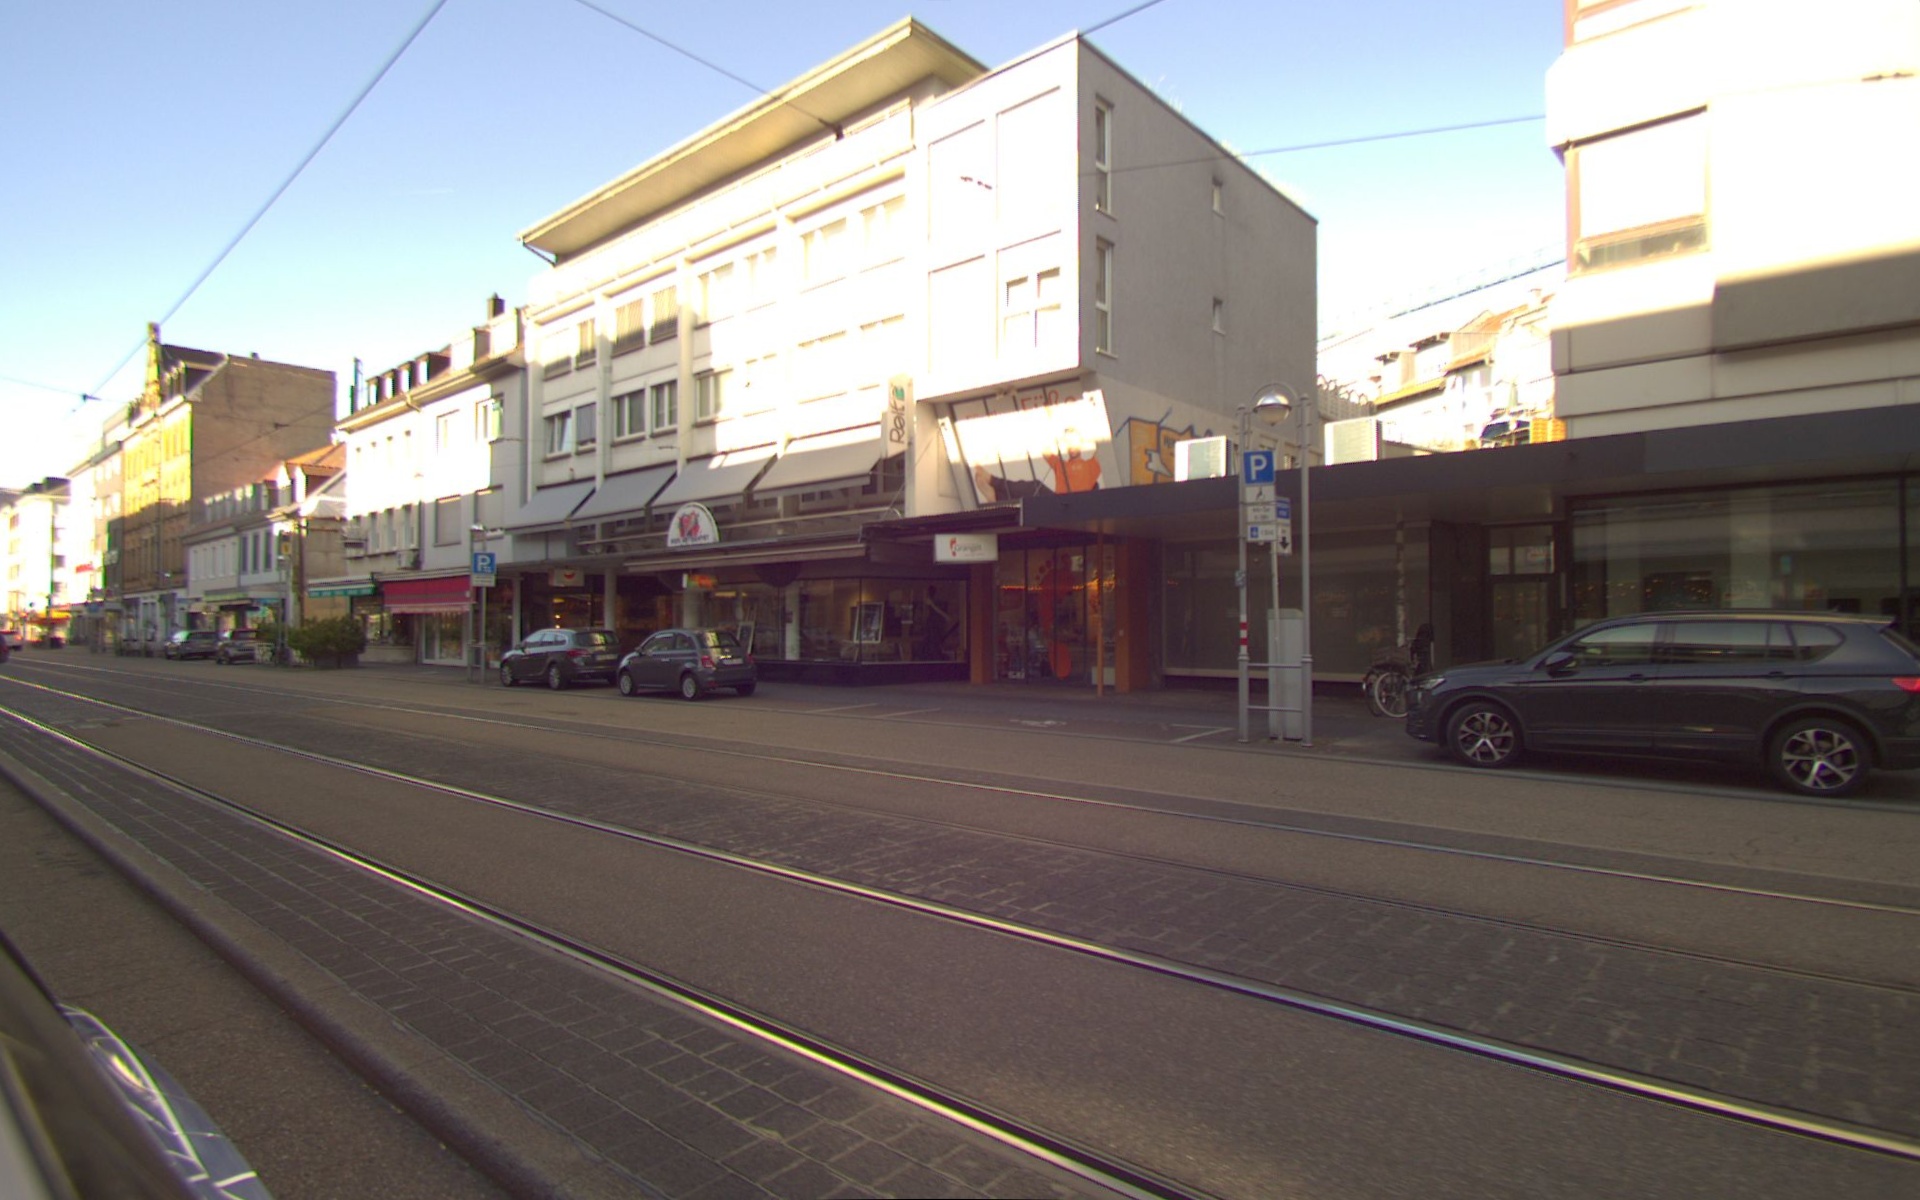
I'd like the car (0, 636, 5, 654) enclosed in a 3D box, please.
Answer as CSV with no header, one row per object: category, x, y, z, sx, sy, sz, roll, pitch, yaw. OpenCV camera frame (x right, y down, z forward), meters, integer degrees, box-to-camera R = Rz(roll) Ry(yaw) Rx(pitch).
car,-83.679,3.853,87.220,3.998,1.542,1.645,-2,-3,41

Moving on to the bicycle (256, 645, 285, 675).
bicycle,-27.090,2.353,39.765,1.715,1.098,0.513,-2,0,42

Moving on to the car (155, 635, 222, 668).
car,-38.975,2.555,51.067,4.760,1.526,1.798,-2,-1,41

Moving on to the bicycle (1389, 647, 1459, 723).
bicycle,7.219,1.287,15.700,0.423,1.006,1.916,-2,0,42

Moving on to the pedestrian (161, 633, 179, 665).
pedestrian,-45.419,2.795,58.170,0.580,1.775,0.651,-2,0,33

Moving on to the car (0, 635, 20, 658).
car,-71.744,3.445,75.672,3.674,1.647,1.779,-2,-2,41

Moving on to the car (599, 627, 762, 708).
car,-6.099,1.400,21.952,3.585,1.535,1.585,-2,0,39

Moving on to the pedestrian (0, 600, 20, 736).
pedestrian,-13.450,0.919,13.785,0.746,1.851,0.796,-2,-4,40

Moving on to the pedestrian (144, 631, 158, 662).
pedestrian,-49.344,2.838,61.729,0.572,1.819,0.660,-2,0,-37

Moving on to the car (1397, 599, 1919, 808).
car,7.224,0.899,10.351,4.653,1.691,1.958,-2,0,42

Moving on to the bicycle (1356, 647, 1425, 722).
bicycle,6.794,1.295,15.936,0.380,1.006,1.916,-2,0,42

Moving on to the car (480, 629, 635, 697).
car,-10.456,1.551,26.111,4.850,1.535,1.719,-2,0,42

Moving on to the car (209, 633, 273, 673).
car,-31.983,2.330,44.987,2.890,1.616,1.679,-2,0,41
